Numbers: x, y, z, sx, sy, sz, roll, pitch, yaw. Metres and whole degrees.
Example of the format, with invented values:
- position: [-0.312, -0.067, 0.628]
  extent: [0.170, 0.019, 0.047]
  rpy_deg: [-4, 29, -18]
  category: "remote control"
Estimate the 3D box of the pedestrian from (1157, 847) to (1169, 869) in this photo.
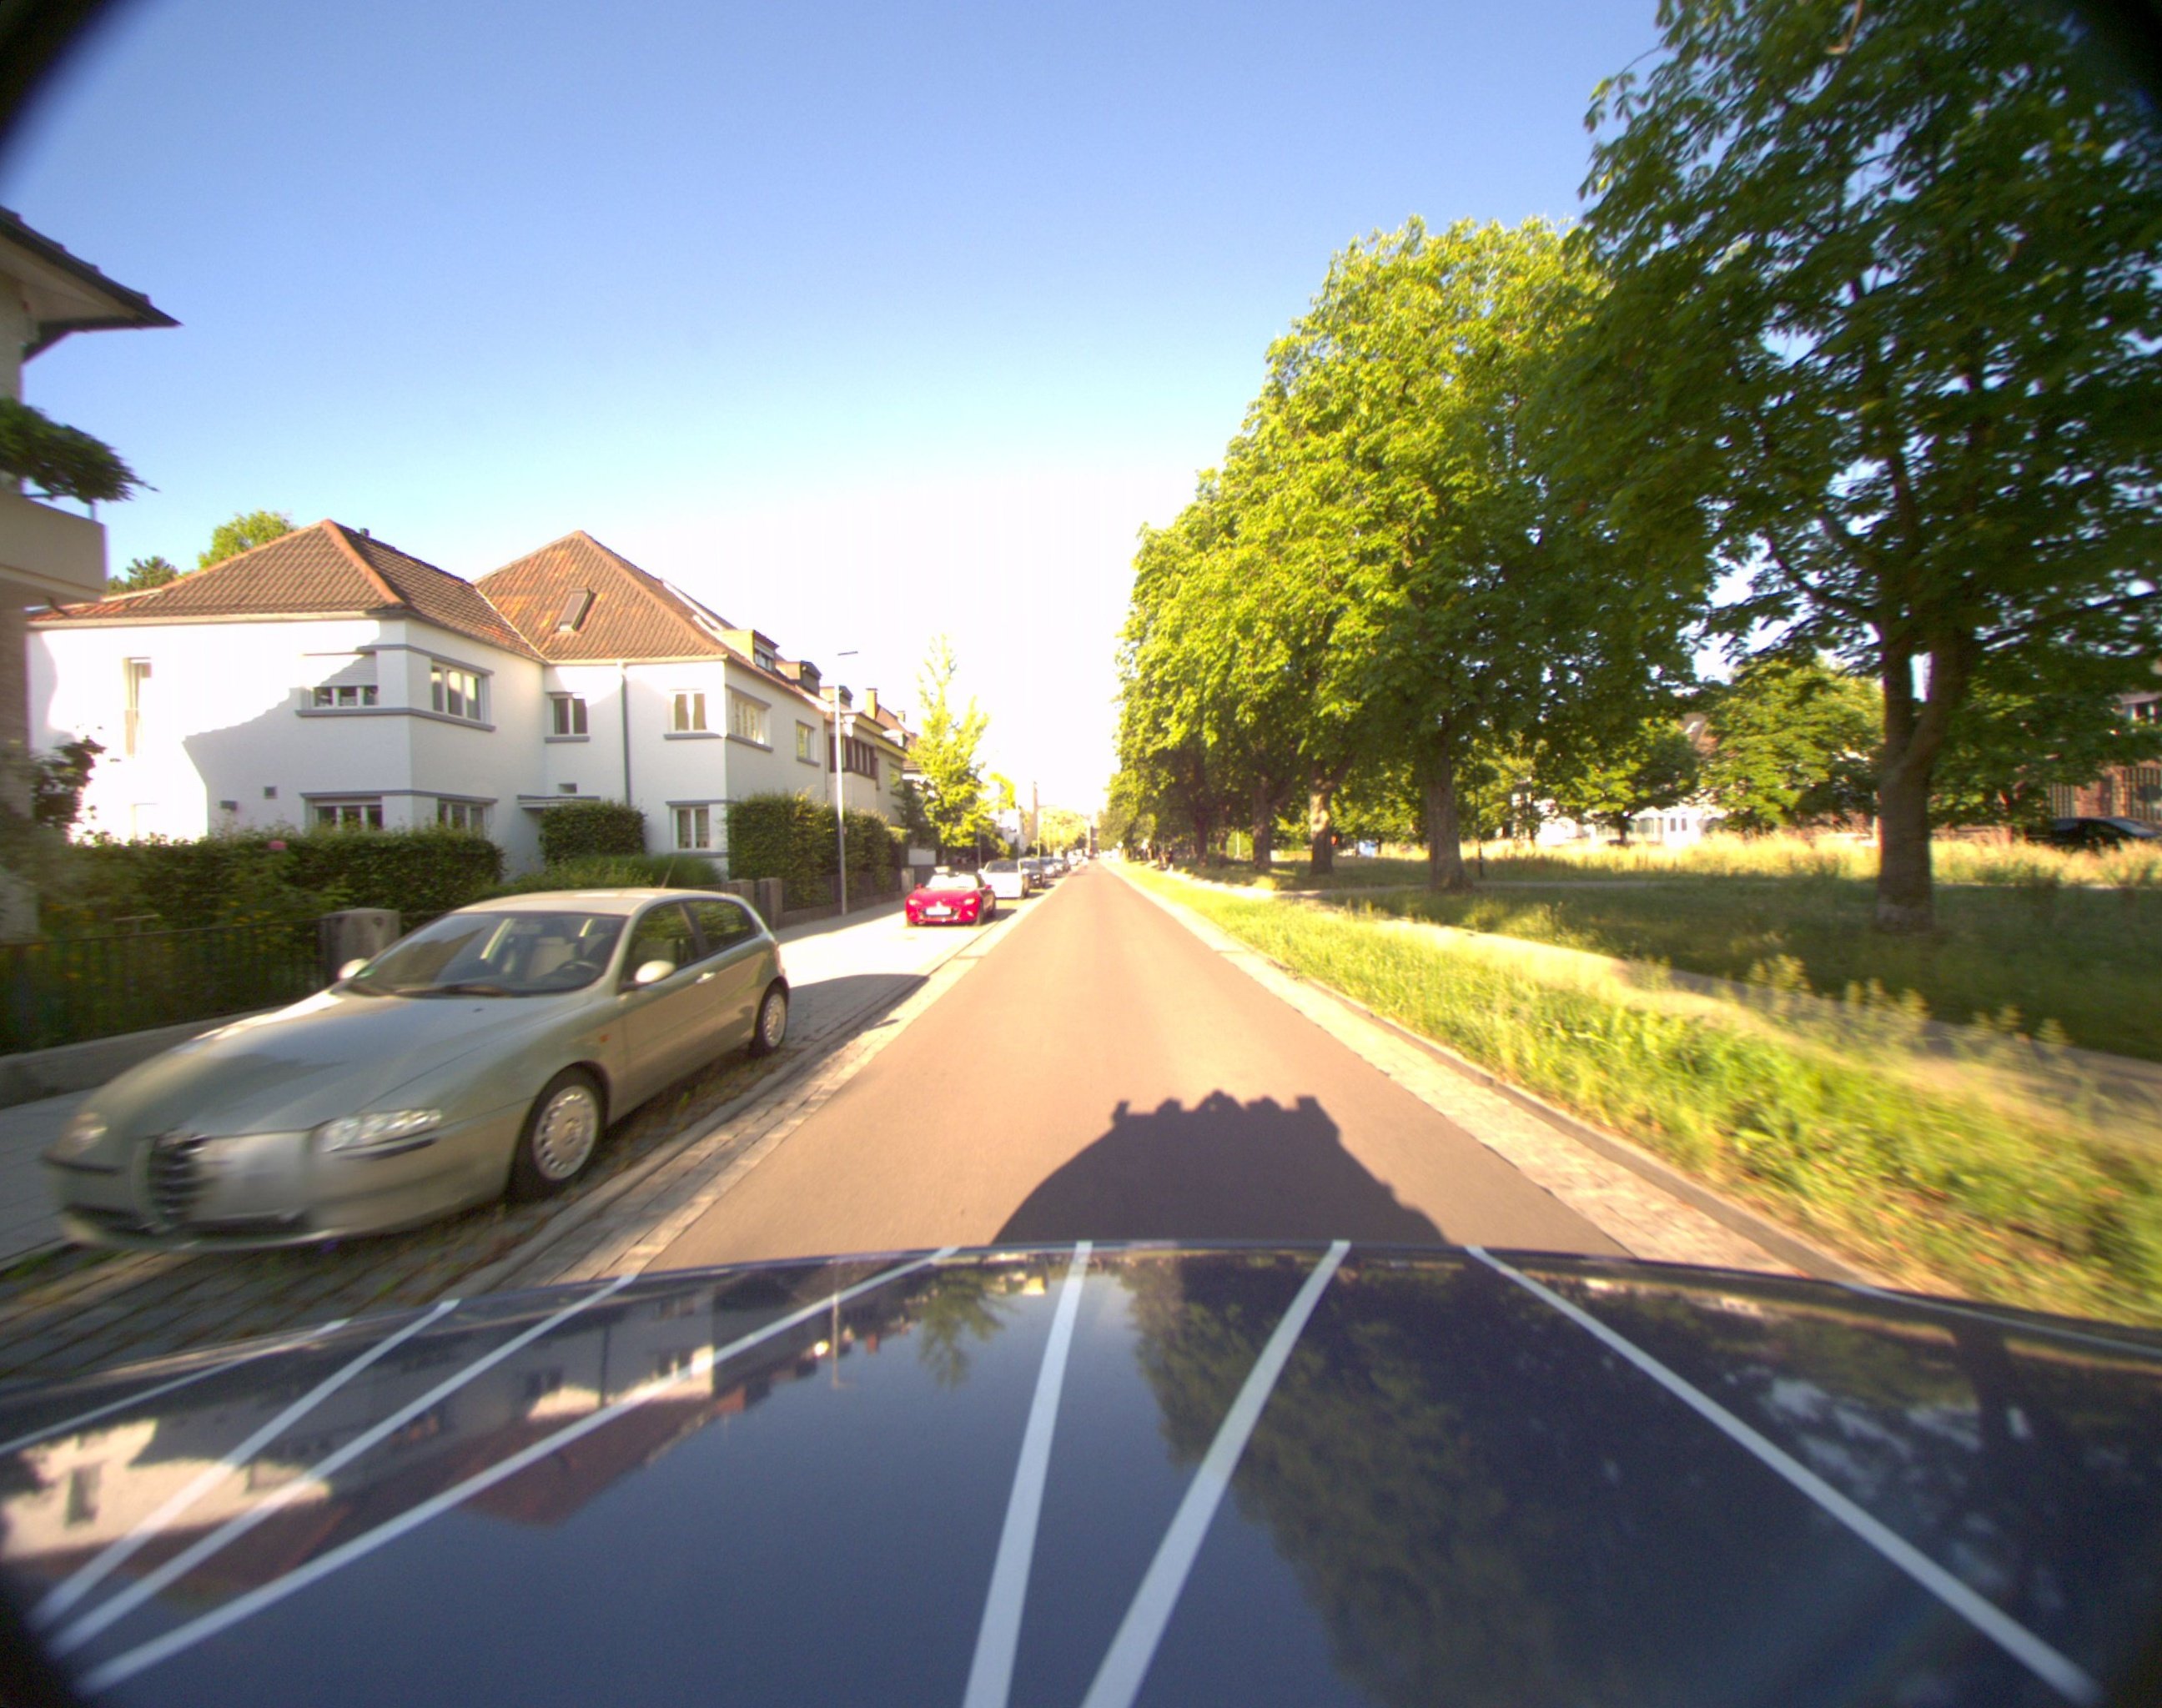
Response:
- position: [6.120, 0.325, 56.762]
  extent: [0.625, 1.621, 0.606]
  rpy_deg: [-2, 1, 27]
  category: "pedestrian"

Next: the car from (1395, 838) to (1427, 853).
- position: [38.618, -0.931, 89.032]
  extent: [1.873, 1.619, 4.426]
  rpy_deg: [-2, 0, 1]
  category: "car"

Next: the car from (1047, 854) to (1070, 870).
- position: [-2.130, 0.724, 74.139]
  extent: [1.844, 1.471, 3.764]
  rpy_deg: [-2, 0, 4]
  category: "car"

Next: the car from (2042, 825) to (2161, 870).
- position: [37.040, -0.251, 26.852]
  extent: [1.585, 1.473, 3.639]
  rpy_deg: [-3, 1, 2]
  category: "car"

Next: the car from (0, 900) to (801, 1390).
- position: [-3.368, 1.096, 4.585]
  extent: [1.798, 1.372, 4.078]
  rpy_deg: [1, 0, 1]
  category: "car"

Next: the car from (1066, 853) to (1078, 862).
- position: [-1.387, 0.568, 121.882]
  extent: [1.844, 1.471, 3.763]
  rpy_deg: [-2, 0, 0]
  category: "car"

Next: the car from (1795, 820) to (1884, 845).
- position: [43.498, -1.206, 43.668]
  extent: [1.585, 1.267, 3.581]
  rpy_deg: [-3, 1, 2]
  category: "car"

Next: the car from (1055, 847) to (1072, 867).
- position: [-2.058, 0.350, 91.444]
  extent: [1.844, 2.196, 3.764]
  rpy_deg: [-2, 0, 2]
  category: "car"

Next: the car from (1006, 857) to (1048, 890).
- position: [-2.624, 0.922, 37.935]
  extent: [1.745, 1.471, 4.056]
  rpy_deg: [-2, 0, 0]
  category: "car"

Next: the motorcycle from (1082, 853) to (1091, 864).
- position: [0.701, 0.545, 100.949]
  extent: [1.077, 1.373, 2.463]
  rpy_deg: [-3, 1, 0]
  category: "motorcycle"

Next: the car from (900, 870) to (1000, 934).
- position: [-3.086, 1.100, 18.661]
  extent: [1.702, 1.250, 3.879]
  rpy_deg: [-1, 1, 1]
  category: "car"

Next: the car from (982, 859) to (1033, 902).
- position: [-2.748, 0.955, 28.872]
  extent: [1.508, 1.471, 3.493]
  rpy_deg: [0, 0, 1]
  category: "car"

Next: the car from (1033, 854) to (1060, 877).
- position: [-2.442, 0.790, 54.723]
  extent: [1.665, 1.526, 3.833]
  rpy_deg: [0, 1, 2]
  category: "car"

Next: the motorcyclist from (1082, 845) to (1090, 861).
- position: [0.655, -0.146, 100.827]
  extent: [0.961, 2.002, 1.274]
  rpy_deg: [-3, 1, 0]
  category: "motorcyclist"

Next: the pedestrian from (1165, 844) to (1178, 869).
- position: [6.810, 0.166, 57.238]
  extent: [0.625, 1.841, 0.606]
  rpy_deg: [-2, 2, 40]
  category: "pedestrian"

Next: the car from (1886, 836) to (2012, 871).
- position: [43.558, -0.039, 38.255]
  extent: [1.766, 1.619, 4.000]
  rpy_deg: [-2, 0, 1]
  category: "car"
